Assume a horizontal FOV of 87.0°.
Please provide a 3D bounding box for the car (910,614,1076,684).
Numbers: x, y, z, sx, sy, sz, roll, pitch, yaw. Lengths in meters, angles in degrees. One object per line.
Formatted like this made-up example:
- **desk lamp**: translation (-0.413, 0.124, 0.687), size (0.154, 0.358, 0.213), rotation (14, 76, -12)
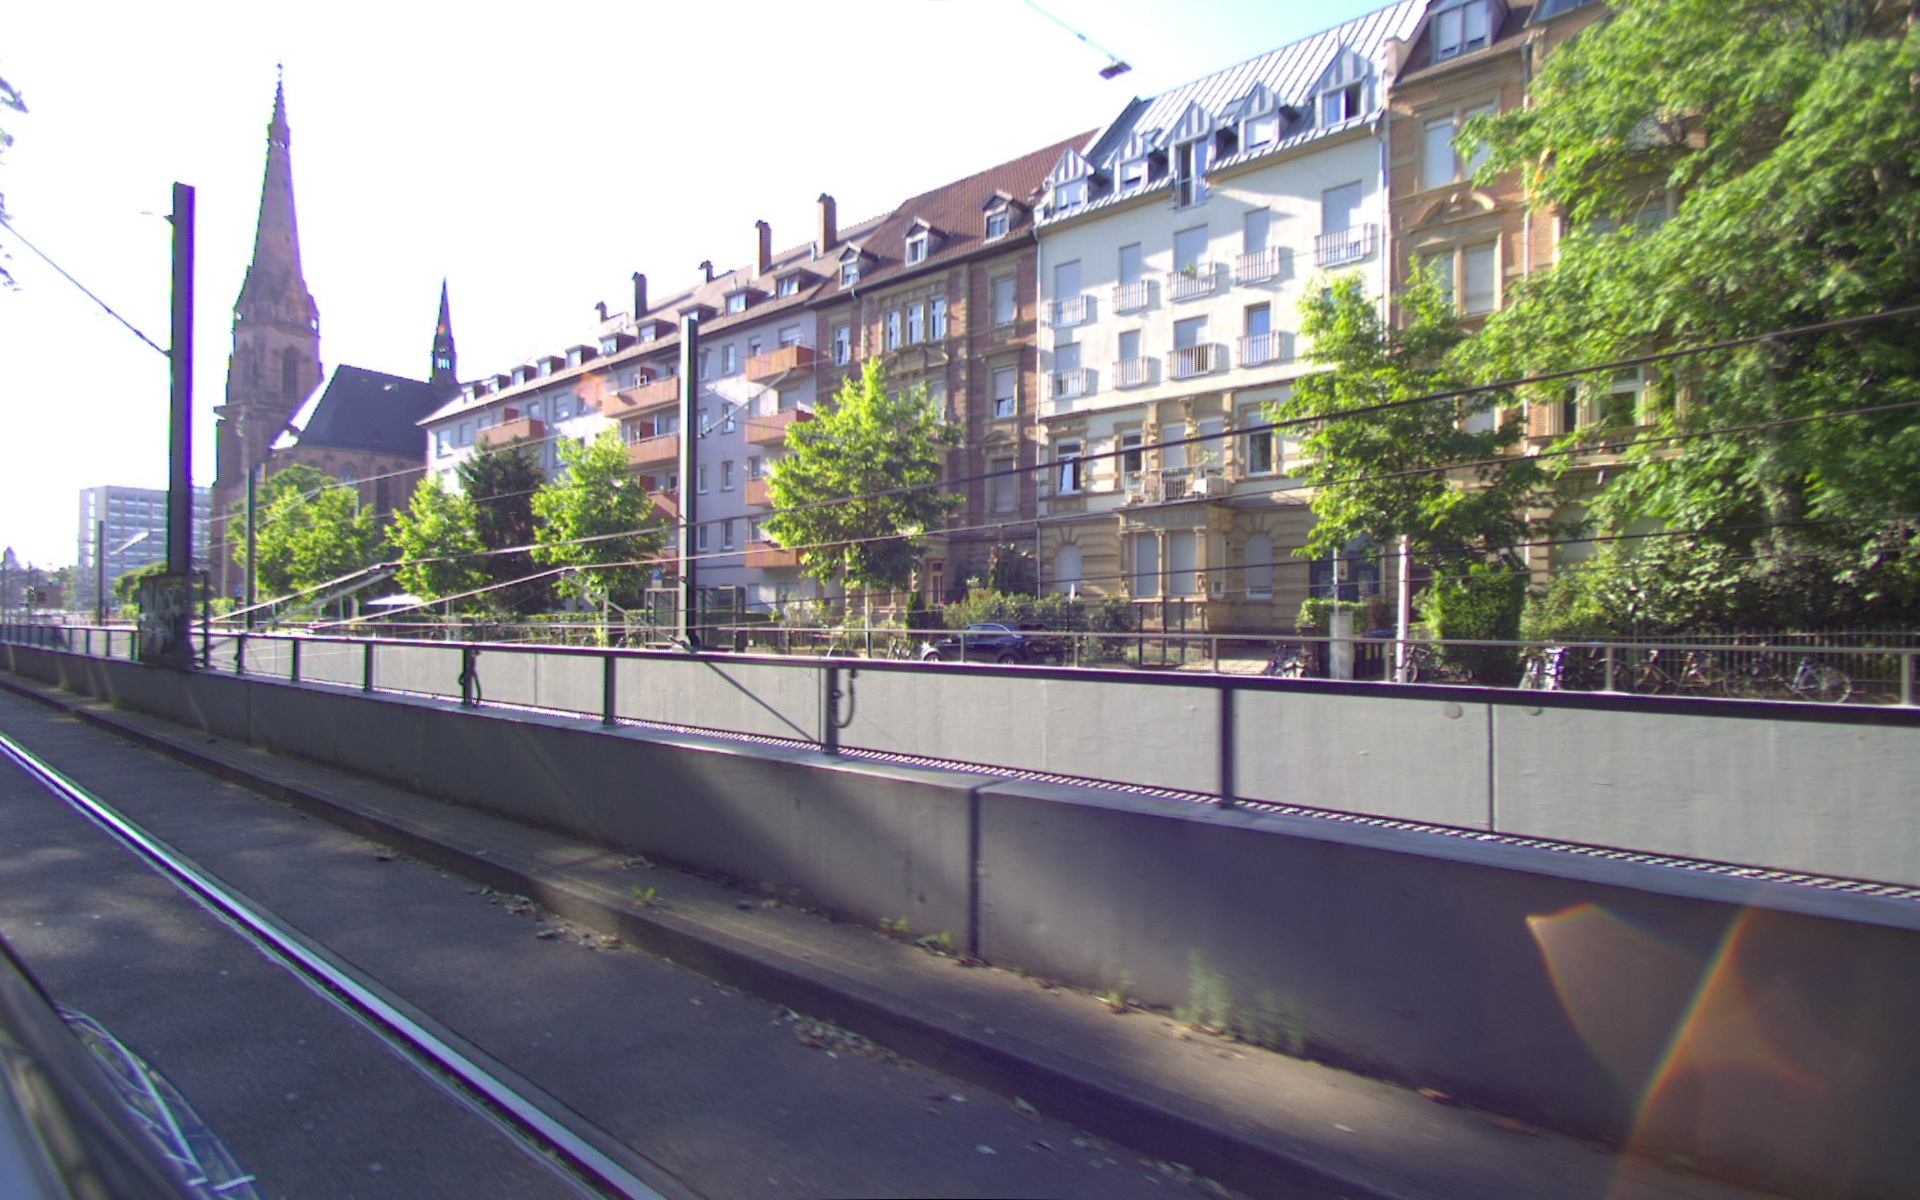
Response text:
- **car**: translation (0.814, 1.222, 26.331), size (3.996, 1.597, 1.814), rotation (-1, 1, 39)

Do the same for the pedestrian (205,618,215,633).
- **pedestrian**: translation (-79.888, 2.694, 107.767), size (0.945, 1.500, 0.580), rotation (-1, 1, 38)

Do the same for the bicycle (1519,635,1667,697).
- **bicycle**: translation (12.301, 1.260, 19.728), size (2.375, 1.107, 0.549), rotation (-1, 1, 42)

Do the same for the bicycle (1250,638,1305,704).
- **bicycle**: translation (6.521, 1.416, 20.918), size (0.635, 1.107, 2.779), rotation (-2, 1, 9)

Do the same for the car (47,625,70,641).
- **car**: translation (-119.593, 4.339, 134.299), size (1.968, 2.029, 5.021), rotation (3, -3, -40)

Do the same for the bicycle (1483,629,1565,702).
- **bicycle**: translation (10.135, 1.138, 18.271), size (0.551, 1.107, 2.368), rotation (-2, 1, 11)

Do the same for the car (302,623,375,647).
- **car**: translation (-47.461, 2.660, 77.342), size (1.976, 1.515, 4.349), rotation (-1, 1, 40)

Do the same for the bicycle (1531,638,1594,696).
- **bicycle**: translation (10.659, 1.163, 17.937), size (0.533, 0.912, 1.265), rotation (-2, 1, 11)

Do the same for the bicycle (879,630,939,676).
- **bicycle**: translation (-1.453, 1.491, 28.856), size (0.562, 1.187, 1.788), rotation (-1, 1, 43)

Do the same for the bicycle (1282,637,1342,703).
- **bicycle**: translation (7.204, 1.394, 20.846), size (0.635, 1.107, 2.779), rotation (-2, 1, 9)
